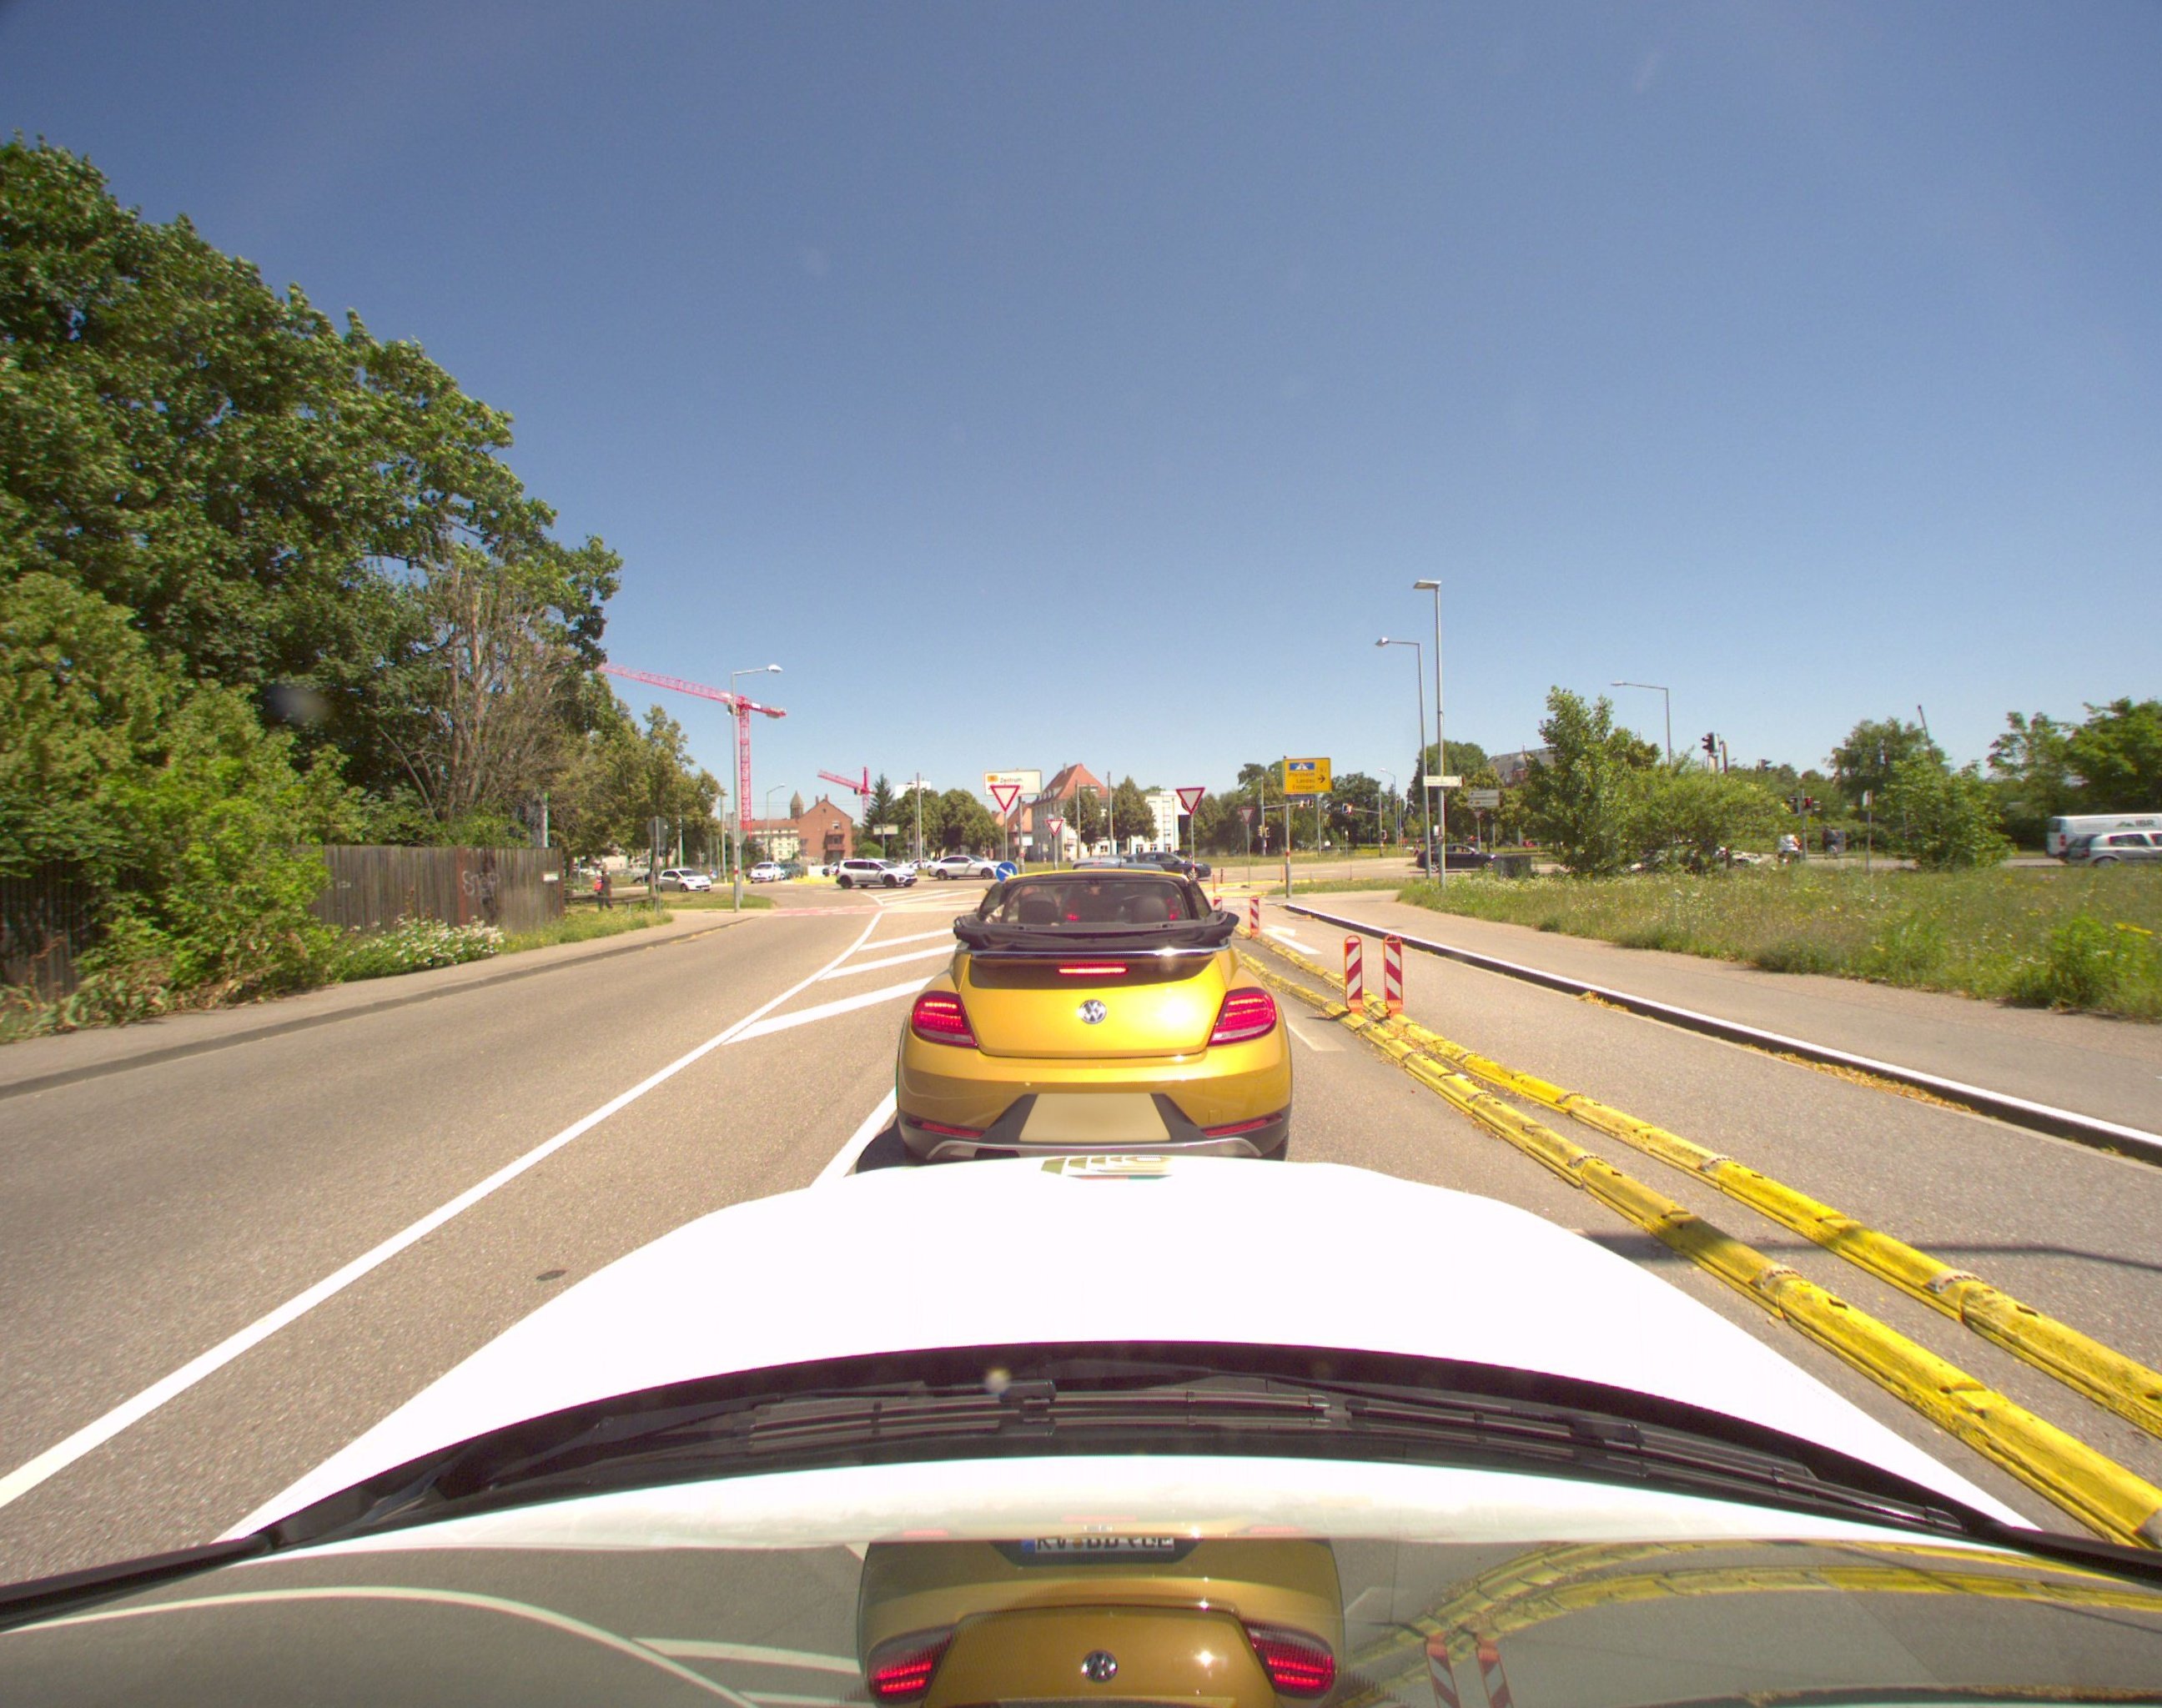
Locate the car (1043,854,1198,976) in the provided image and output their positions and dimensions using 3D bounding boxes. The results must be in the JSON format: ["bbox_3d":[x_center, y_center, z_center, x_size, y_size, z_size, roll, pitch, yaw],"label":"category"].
[{"bbox_3d":[0.542,0.738,11.785,1.841,1.442,4.002,-1,0,2],"label":"car"}]

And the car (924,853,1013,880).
[{"bbox_3d":[-6.860,0.767,49.751,4.953,1.509,2.008,-1,0,15],"label":"car"}]

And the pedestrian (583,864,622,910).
[{"bbox_3d":[-16.657,1.126,28.355,0.866,1.563,0.815,-1,0,24],"label":"pedestrian"}]

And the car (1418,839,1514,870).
[{"bbox_3d":[19.229,0.050,40.908,4.153,1.442,2.010,-1,0,18],"label":"car"}]

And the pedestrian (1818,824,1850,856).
[{"bbox_3d":[37.846,-0.691,40.935,0.789,1.563,0.823,-1,0,3],"label":"pedestrian"}]

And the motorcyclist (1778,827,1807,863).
[{"bbox_3d":[25.824,-0.313,29.550,0.616,1.289,0.576,-1,0,-27],"label":"motorcyclist"}]

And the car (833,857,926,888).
[{"bbox_3d":[-10.864,0.985,43.813,4.534,1.566,2.011,-1,0,24],"label":"car"}]

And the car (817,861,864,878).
[{"bbox_3d":[-23.400,1.489,79.210,1.690,1.500,4.247,-1,0,34],"label":"car"}]

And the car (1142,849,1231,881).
[{"bbox_3d":[5.166,0.535,39.560,4.179,1.442,2.005,-1,0,9],"label":"car"}]

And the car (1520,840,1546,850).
[{"bbox_3d":[84.797,-1.672,152.850,3.996,1.714,1.989,-1,0,-17],"label":"car"}]

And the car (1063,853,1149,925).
[{"bbox_3d":[0.583,0.722,18.802,1.730,1.442,4.002,-1,0,2],"label":"car"}]

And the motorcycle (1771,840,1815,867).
[{"bbox_3d":[25.804,-0.025,29.504,1.712,0.970,0.625,-1,0,-28],"label":"motorcycle"}]

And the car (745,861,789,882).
[{"bbox_3d":[-24.598,1.368,63.882,1.749,1.549,4.002,-1,0,2],"label":"car"}]

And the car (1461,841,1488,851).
[{"bbox_3d":[71.800,-1.438,148.540,3.993,1.714,1.990,-1,0,-15],"label":"car"}]

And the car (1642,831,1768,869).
[{"bbox_3d":[25.794,-0.141,33.829,3.969,1.444,1.643,-1,0,30],"label":"car"}]

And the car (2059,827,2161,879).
[{"bbox_3d":[36.527,-0.055,27.035,4.875,1.705,2.013,-1,0,39],"label":"car"}]

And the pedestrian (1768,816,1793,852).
[{"bbox_3d":[36.623,-1.023,42.617,0.647,1.870,0.737,-1,0,3],"label":"pedestrian"}]

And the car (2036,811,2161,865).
[{"bbox_3d":[38.391,-0.585,29.272,4.922,1.850,2.013,-1,0,38],"label":"car"}]

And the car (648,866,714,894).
[{"bbox_3d":[-25.069,1.629,51.048,3.961,1.620,1.690,-1,0,28],"label":"car"}]

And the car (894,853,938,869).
[{"bbox_3d":[-19.428,0.780,96.225,4.707,1.828,1.978,-1,0,-37],"label":"car"}]

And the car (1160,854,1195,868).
[{"bbox_3d":[12.693,0.881,107.233,4.154,1.672,1.958,-3,0,18],"label":"car"}]

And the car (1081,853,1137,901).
[{"bbox_3d":[0.941,0.721,27.602,1.730,1.477,4.002,-1,0,2],"label":"car"}]

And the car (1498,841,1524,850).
[{"bbox_3d":[79.427,-1.577,150.539,3.993,1.714,1.990,-1,0,-15],"label":"car"}]

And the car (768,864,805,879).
[{"bbox_3d":[-25.046,1.464,69.405,1.700,1.236,3.788,-1,0,2],"label":"car"}]

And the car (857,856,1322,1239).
[{"bbox_3d":[0.082,0.743,4.991,1.746,1.422,3.779,-1,0,1],"label":"car"}]
